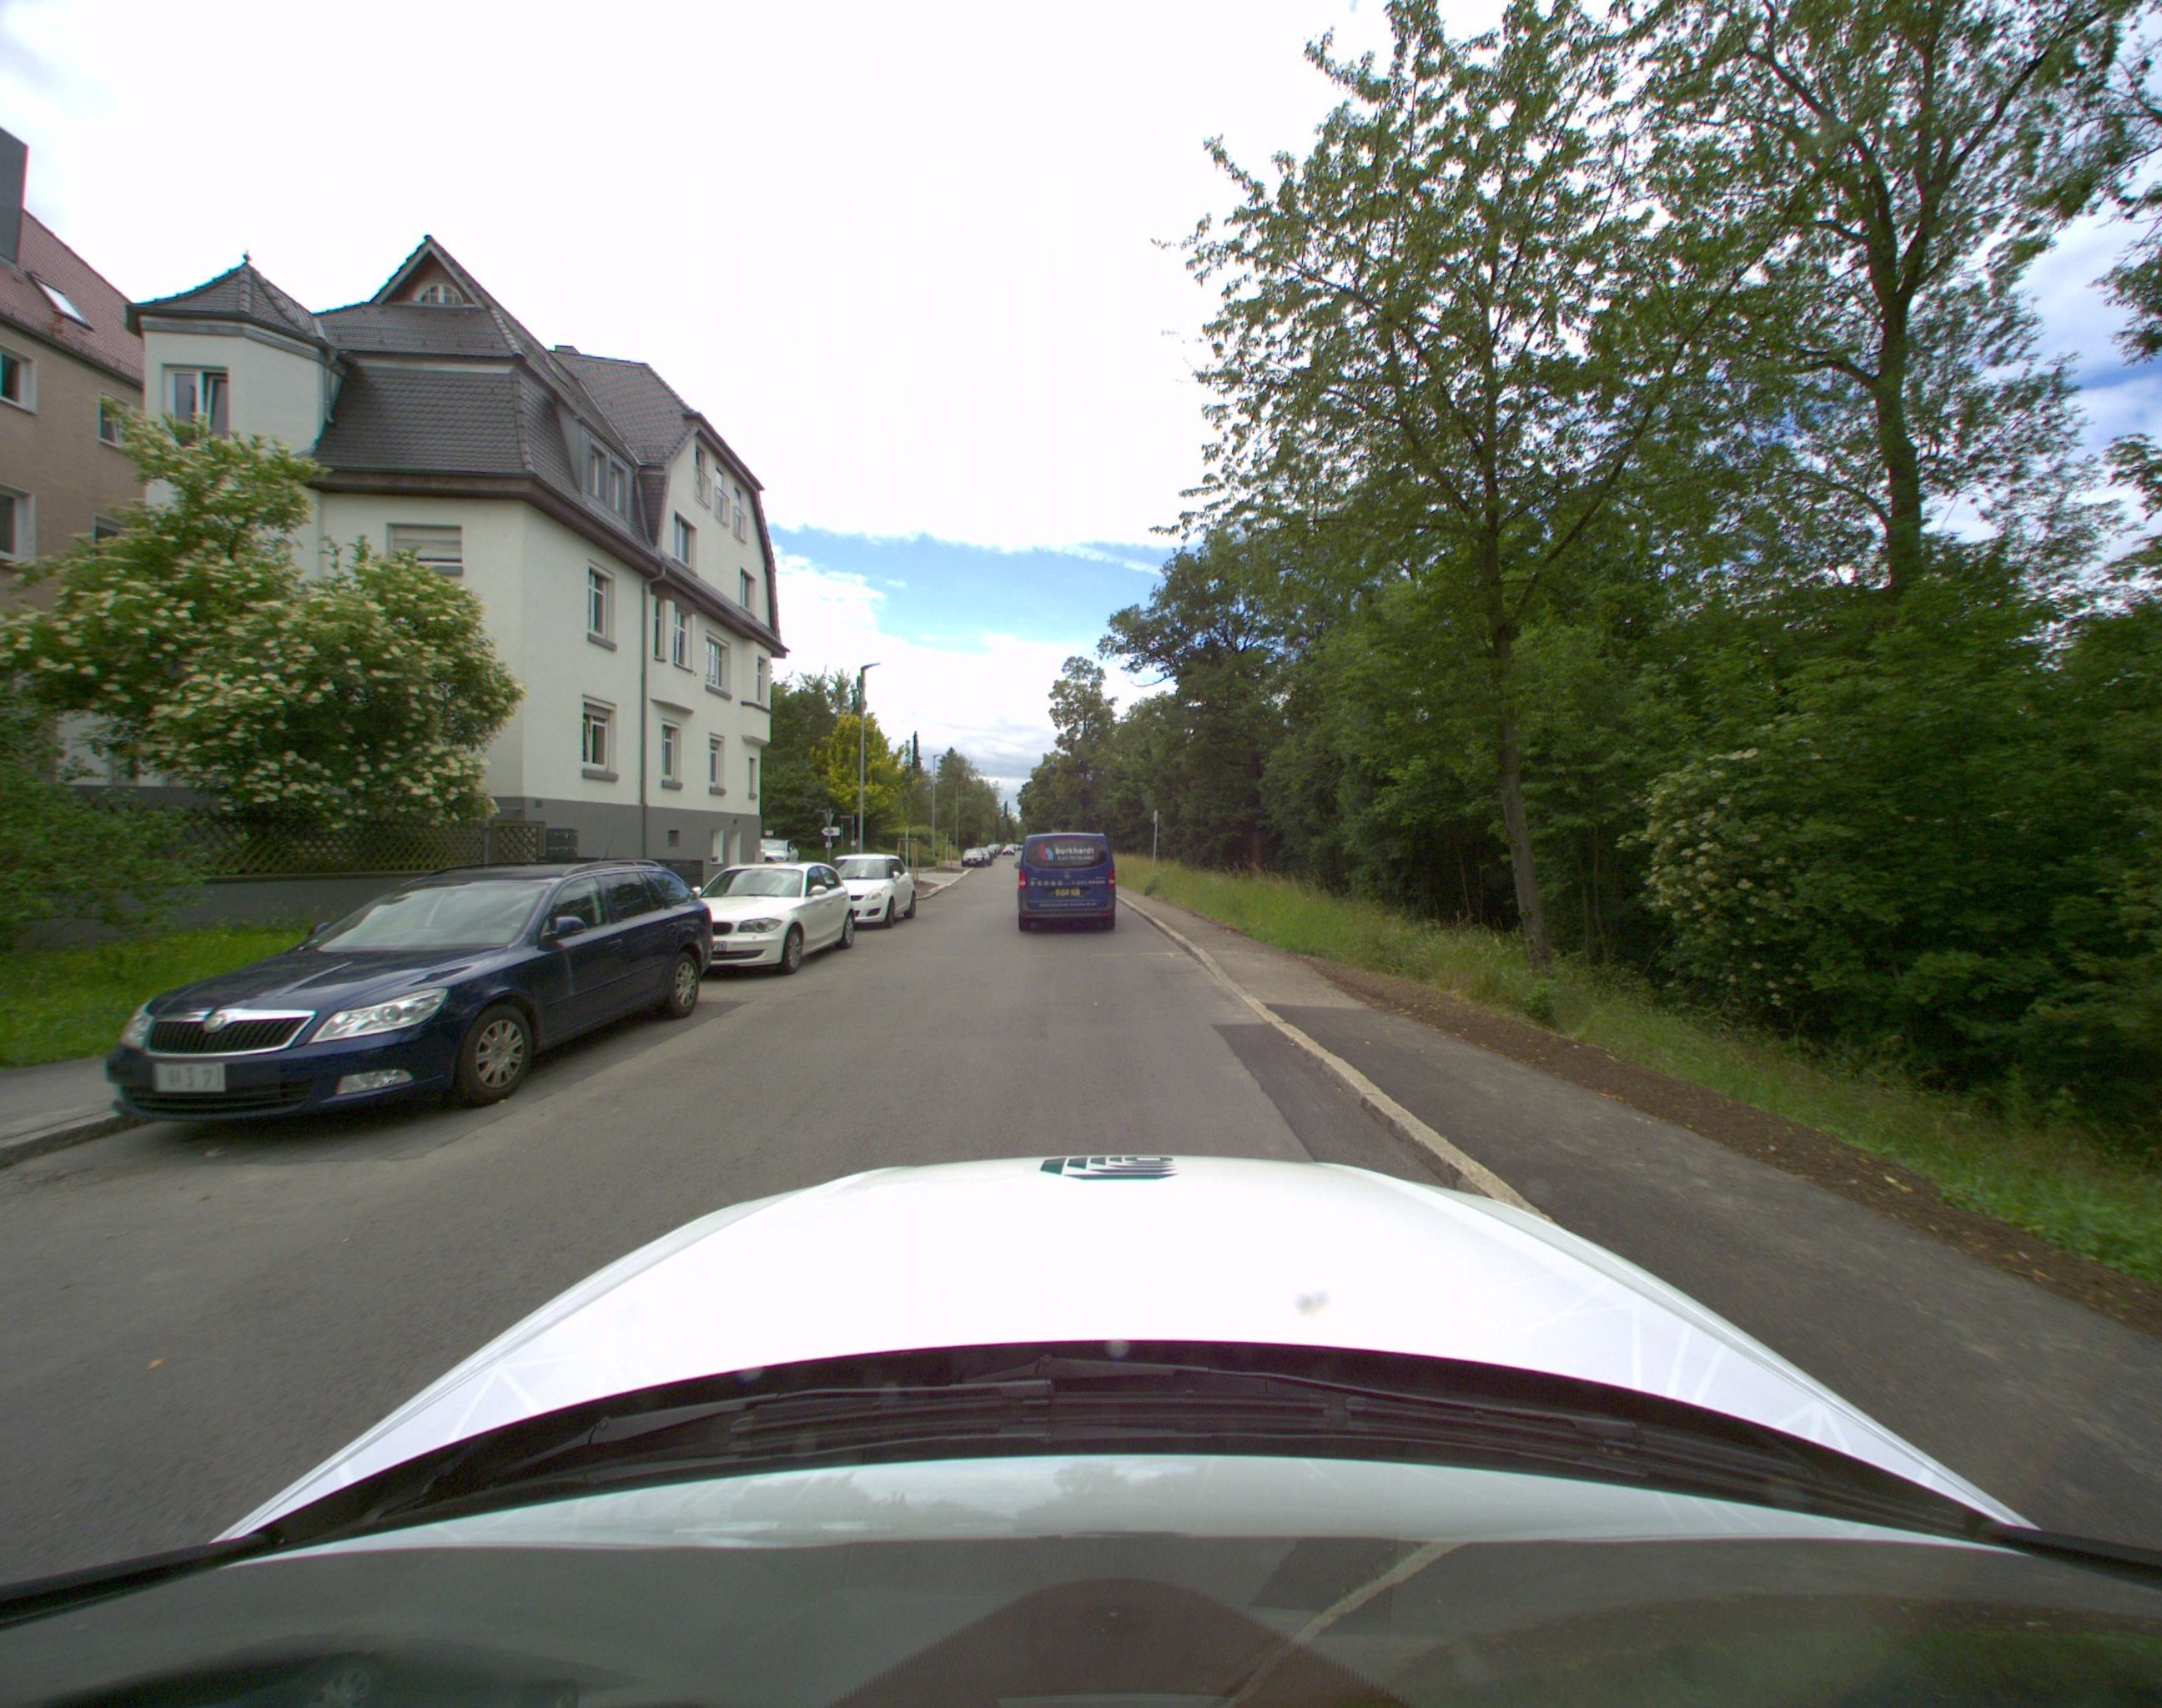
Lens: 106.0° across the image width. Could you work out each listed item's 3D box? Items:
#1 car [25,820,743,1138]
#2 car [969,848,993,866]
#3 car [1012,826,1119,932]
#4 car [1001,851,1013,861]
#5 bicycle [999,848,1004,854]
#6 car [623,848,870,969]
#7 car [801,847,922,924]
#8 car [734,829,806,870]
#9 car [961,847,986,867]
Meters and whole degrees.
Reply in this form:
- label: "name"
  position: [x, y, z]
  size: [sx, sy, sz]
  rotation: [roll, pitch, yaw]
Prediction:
- label: "car"
  position: [-4.511, 0.608, 6.536]
  size: [1.722, 1.573, 4.811]
  rotation: [-1, 0, -2]
- label: "car"
  position: [-8.475, 0.200, 69.295]
  size: [1.703, 1.482, 4.489]
  rotation: [1, 0, -4]
- label: "car"
  position: [-0.403, 0.380, 16.808]
  size: [1.885, 1.843, 3.995]
  rotation: [-2, 2, -4]
- label: "car"
  position: [-11.688, 0.347, 129.061]
  size: [1.778, 1.426, 4.480]
  rotation: [2, 0, -6]
- label: "bicycle"
  position: [-18.868, -0.730, 192.765]
  size: [0.903, 1.251, 2.914]
  rotation: [4, 0, -1]
- label: "car"
  position: [-4.497, 0.656, 11.844]
  size: [1.720, 1.390, 4.723]
  rotation: [0, -1, -1]
- label: "car"
  position: [-4.601, 0.616, 17.621]
  size: [1.638, 1.469, 4.067]
  rotation: [0, -1, -2]
- label: "car"
  position: [-13.289, -0.148, 35.041]
  size: [1.905, 1.533, 4.582]
  rotation: [4, -1, -9]
- label: "car"
  position: [-8.466, 0.225, 64.310]
  size: [1.680, 1.482, 4.685]
  rotation: [1, 0, -5]
